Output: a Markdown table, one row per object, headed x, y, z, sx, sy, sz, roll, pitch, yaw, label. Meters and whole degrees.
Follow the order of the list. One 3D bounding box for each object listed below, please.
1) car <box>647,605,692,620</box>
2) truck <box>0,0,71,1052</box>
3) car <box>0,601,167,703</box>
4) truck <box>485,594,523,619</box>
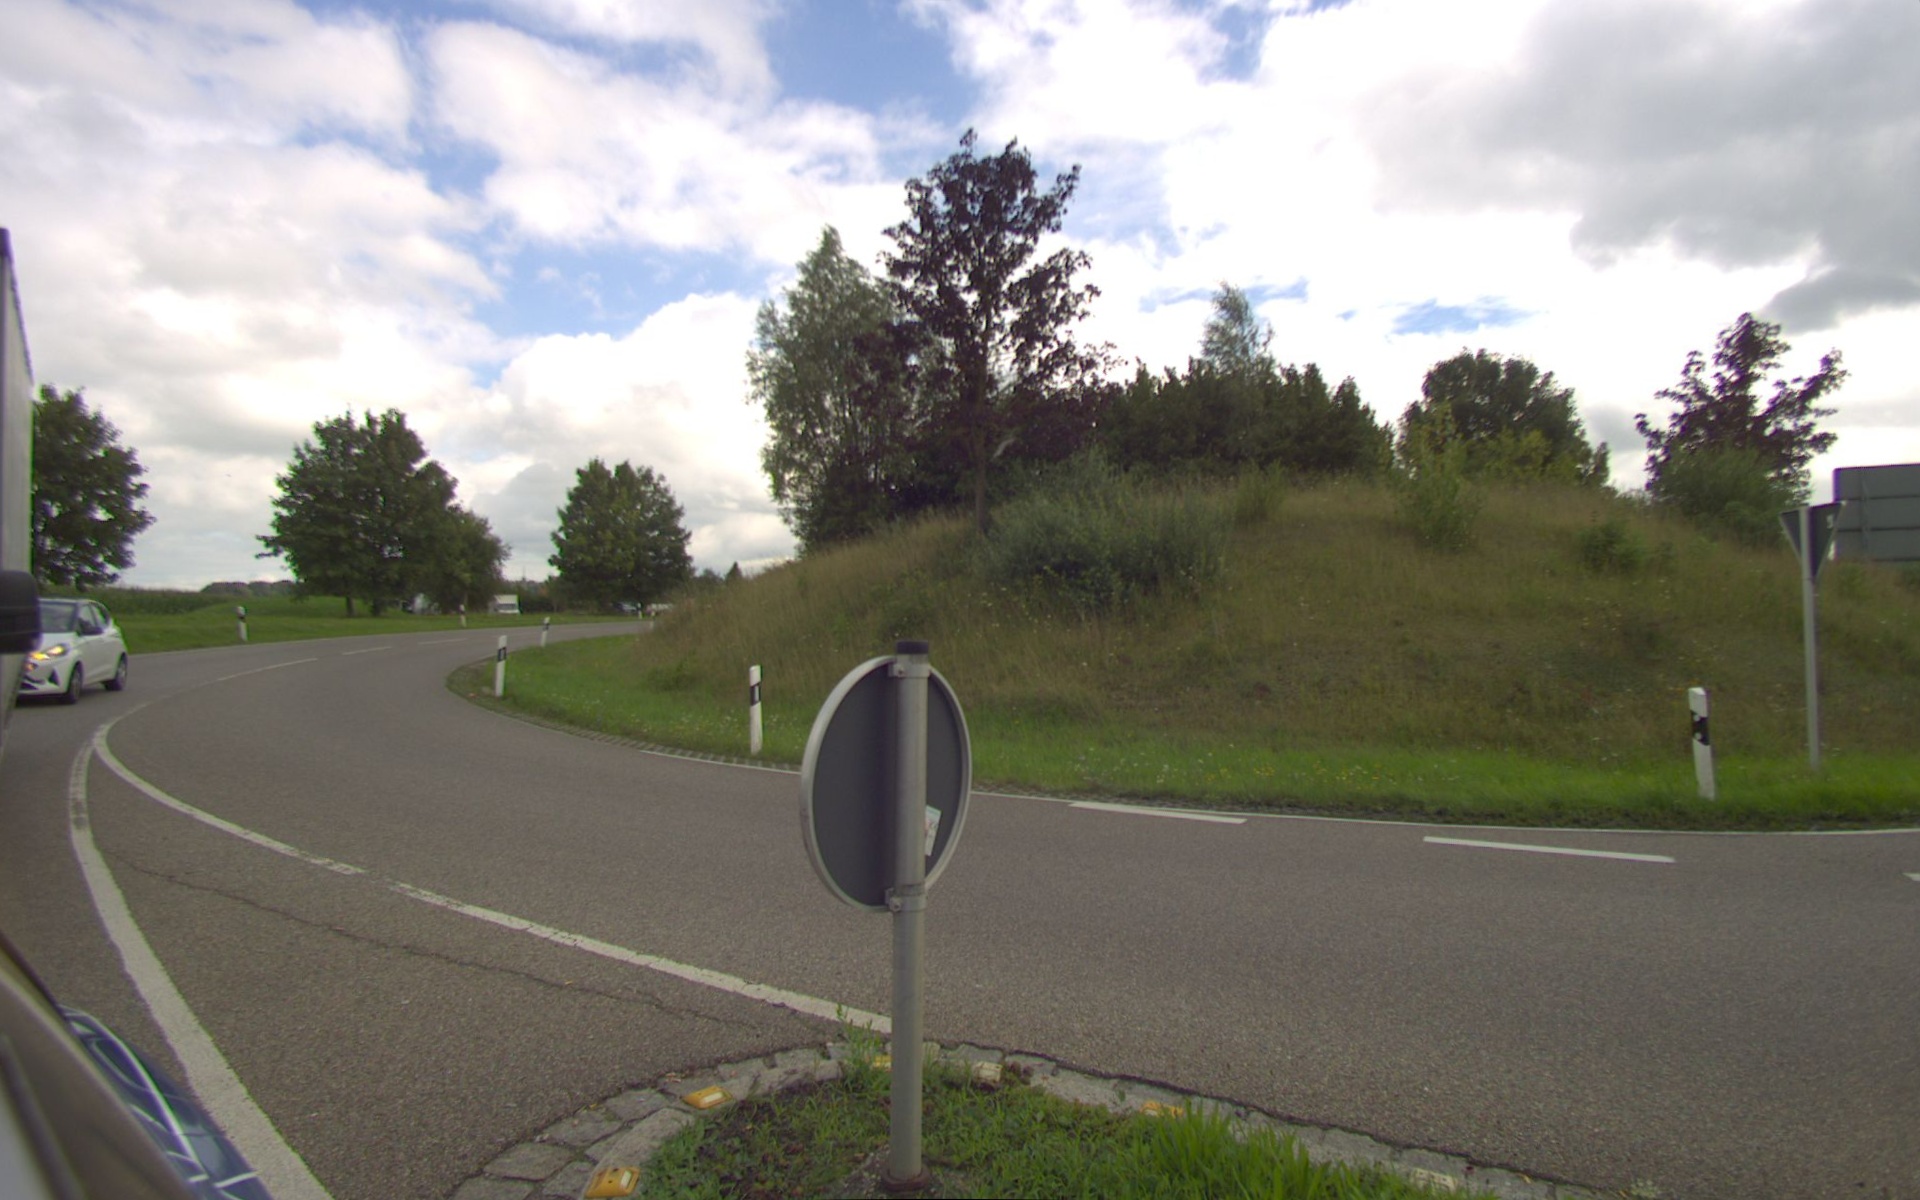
| x | y | z | sx | sy | sz | roll | pitch | yaw | label |
| --- | --- | --- | --- | --- | --- | --- | --- | --- | --- |
| -30.858 | 1.323 | 107.535 | 4.328 | 1.597 | 2.007 | 0 | -1 | -24 | car |
| -7.166 | -0.396 | 5.929 | 2.795 | 3.792 | 8.813 | 1 | 0 | -41 | truck |
| -14.641 | 0.799 | 16.694 | 1.721 | 1.477 | 4.013 | -1 | -1 | -27 | car |
| -45.932 | 0.682 | 101.825 | 2.254 | 2.439 | 6.397 | 0 | -1 | -35 | truck |
